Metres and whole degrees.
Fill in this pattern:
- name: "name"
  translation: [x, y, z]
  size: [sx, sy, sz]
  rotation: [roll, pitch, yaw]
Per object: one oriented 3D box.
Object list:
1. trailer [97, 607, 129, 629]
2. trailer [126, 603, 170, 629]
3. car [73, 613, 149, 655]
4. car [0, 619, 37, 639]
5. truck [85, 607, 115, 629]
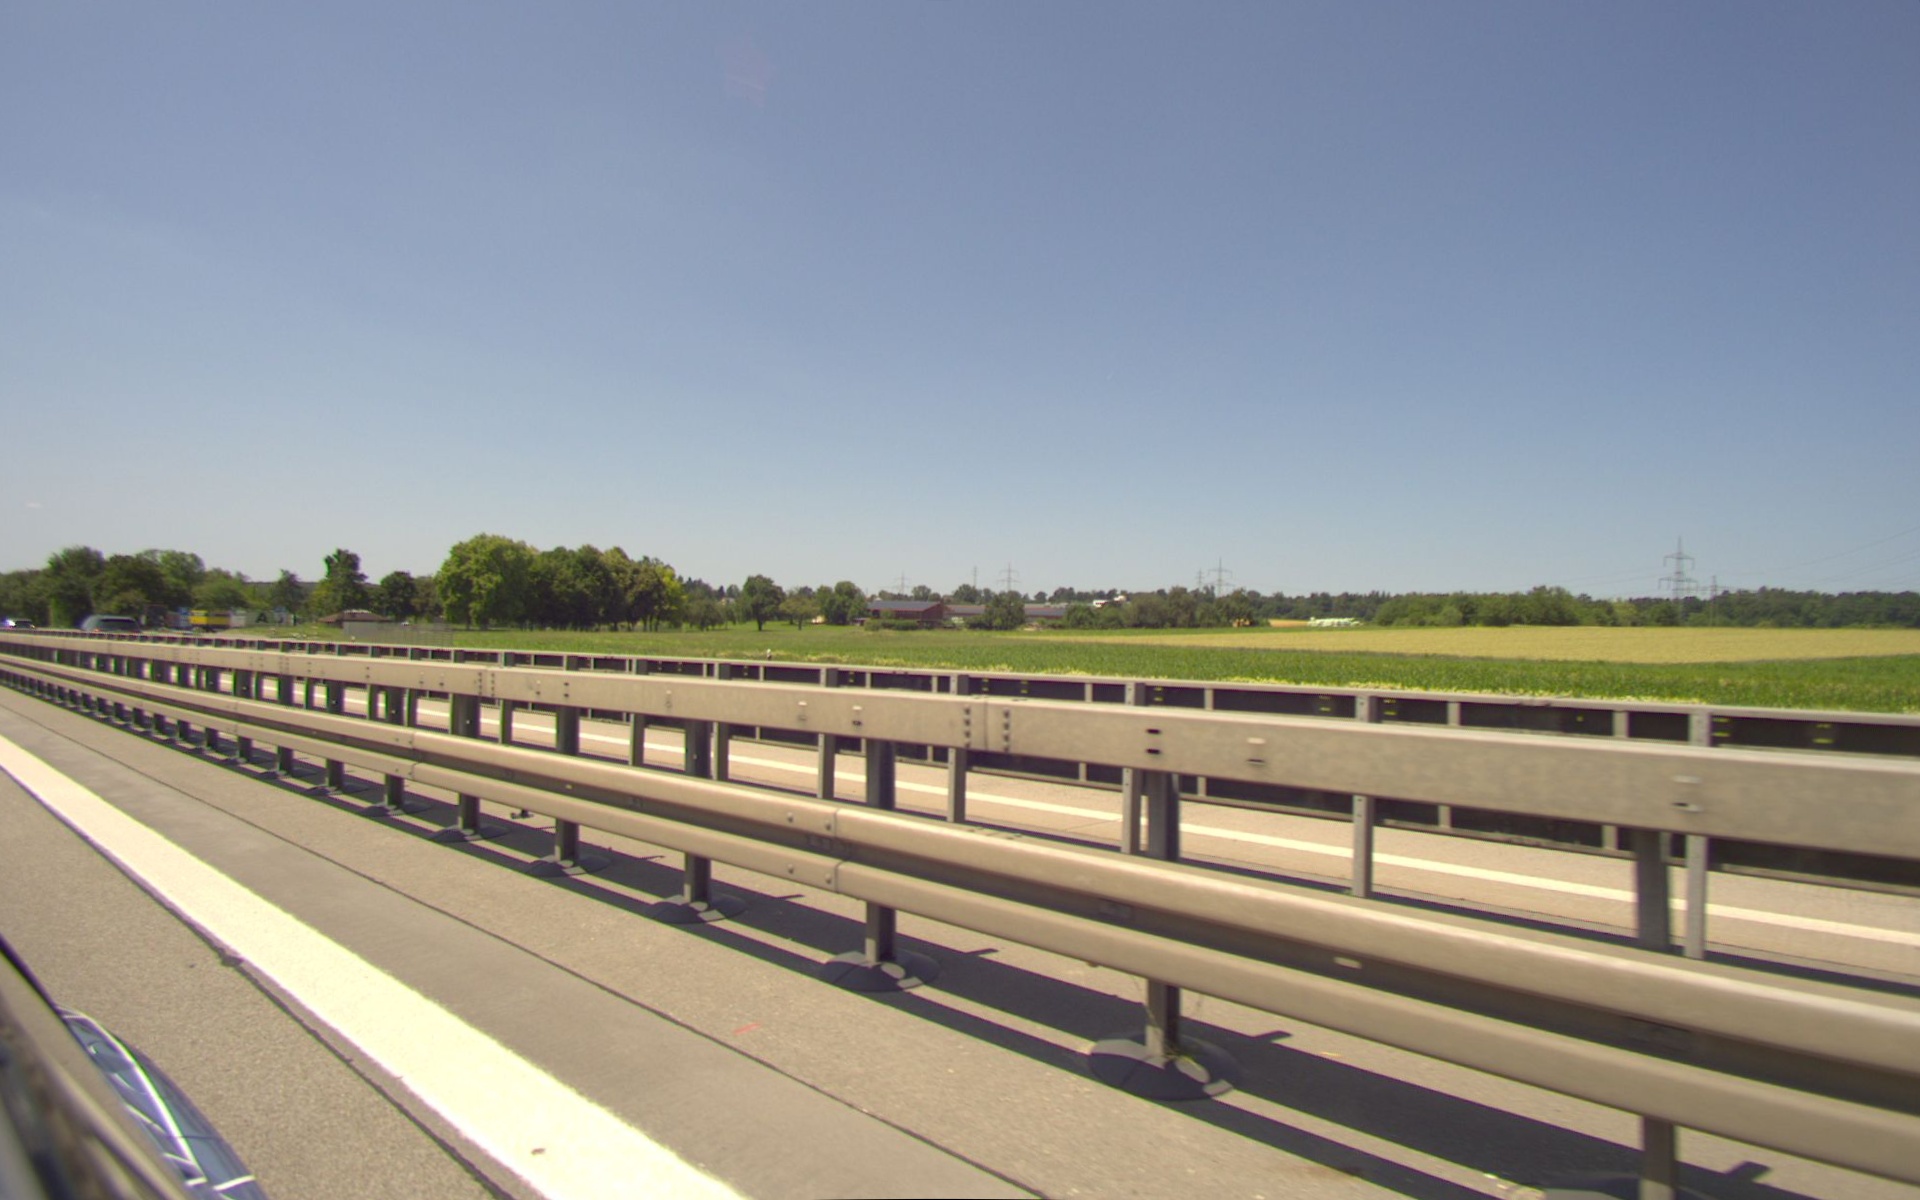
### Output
- name: "trailer"
  translation: [-142.322, 2.987, 169.951]
  size: [8.703, 3.689, 2.520]
  rotation: [0, 0, 39]
- name: "trailer"
  translation: [-125.728, 2.425, 156.631]
  size: [14.402, 3.807, 2.740]
  rotation: [0, 0, 41]
- name: "car"
  translation: [-36.539, 1.449, 43.529]
  size: [4.426, 1.653, 1.791]
  rotation: [0, -3, 41]
- name: "car"
  translation: [-71.502, 2.173, 76.709]
  size: [3.998, 1.455, 1.800]
  rotation: [-1, -3, 41]
- name: "truck"
  translation: [-148.985, 3.022, 175.311]
  size: [8.387, 3.661, 2.529]
  rotation: [0, 0, 39]
